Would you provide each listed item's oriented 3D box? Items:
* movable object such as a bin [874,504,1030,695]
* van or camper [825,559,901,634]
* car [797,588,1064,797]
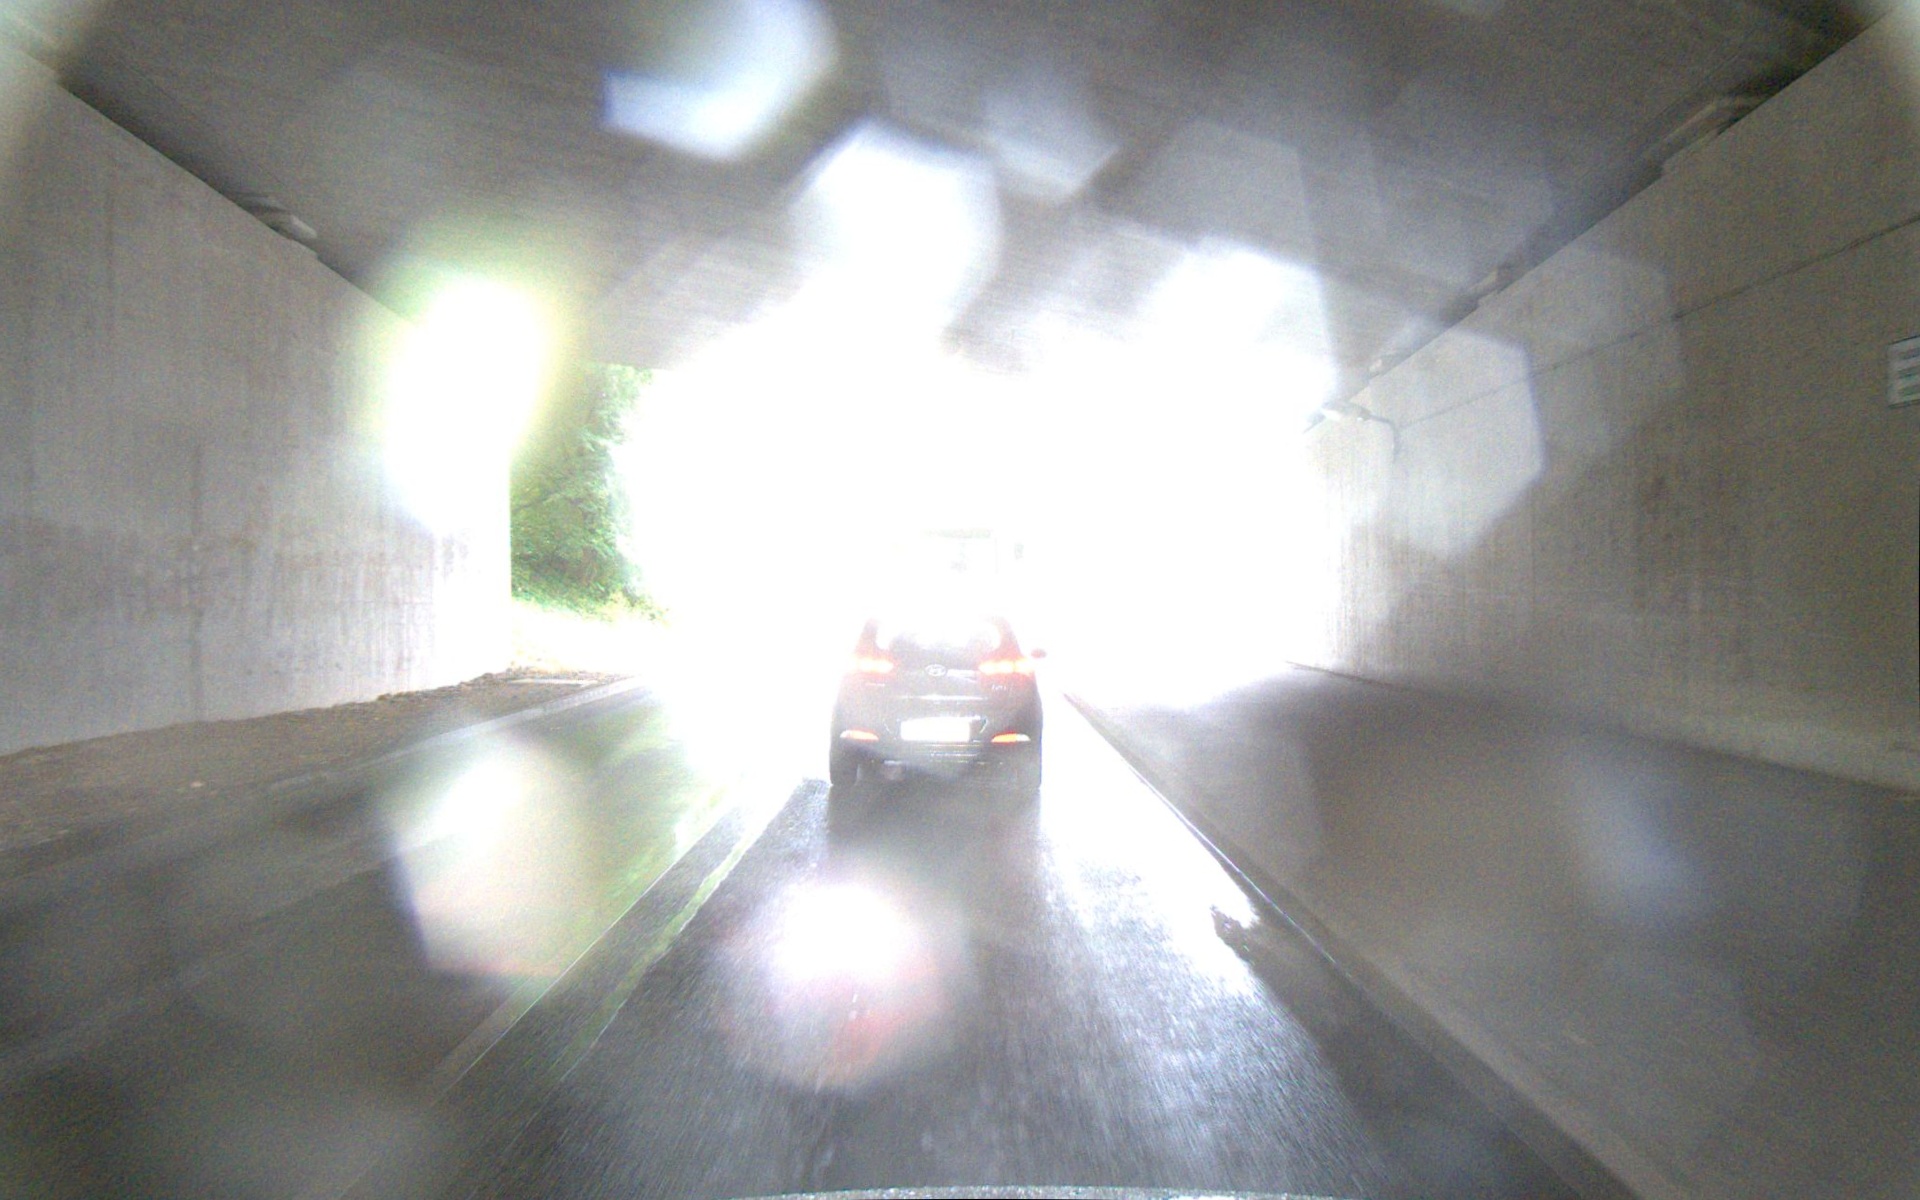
[{"bbox_3d":[-0.193,-0.022,27.416,2.200,2.716,6.624,2,0,-1],"label":"movable object such as a bin"},{"bbox_3d":[-2.921,-0.120,50.755,1.953,2.135,4.691,2,0,0],"label":"van or camper"},{"bbox_3d":[-0.338,0.681,14.321,1.954,1.513,3.997,2,0,-4],"label":"car"}]
